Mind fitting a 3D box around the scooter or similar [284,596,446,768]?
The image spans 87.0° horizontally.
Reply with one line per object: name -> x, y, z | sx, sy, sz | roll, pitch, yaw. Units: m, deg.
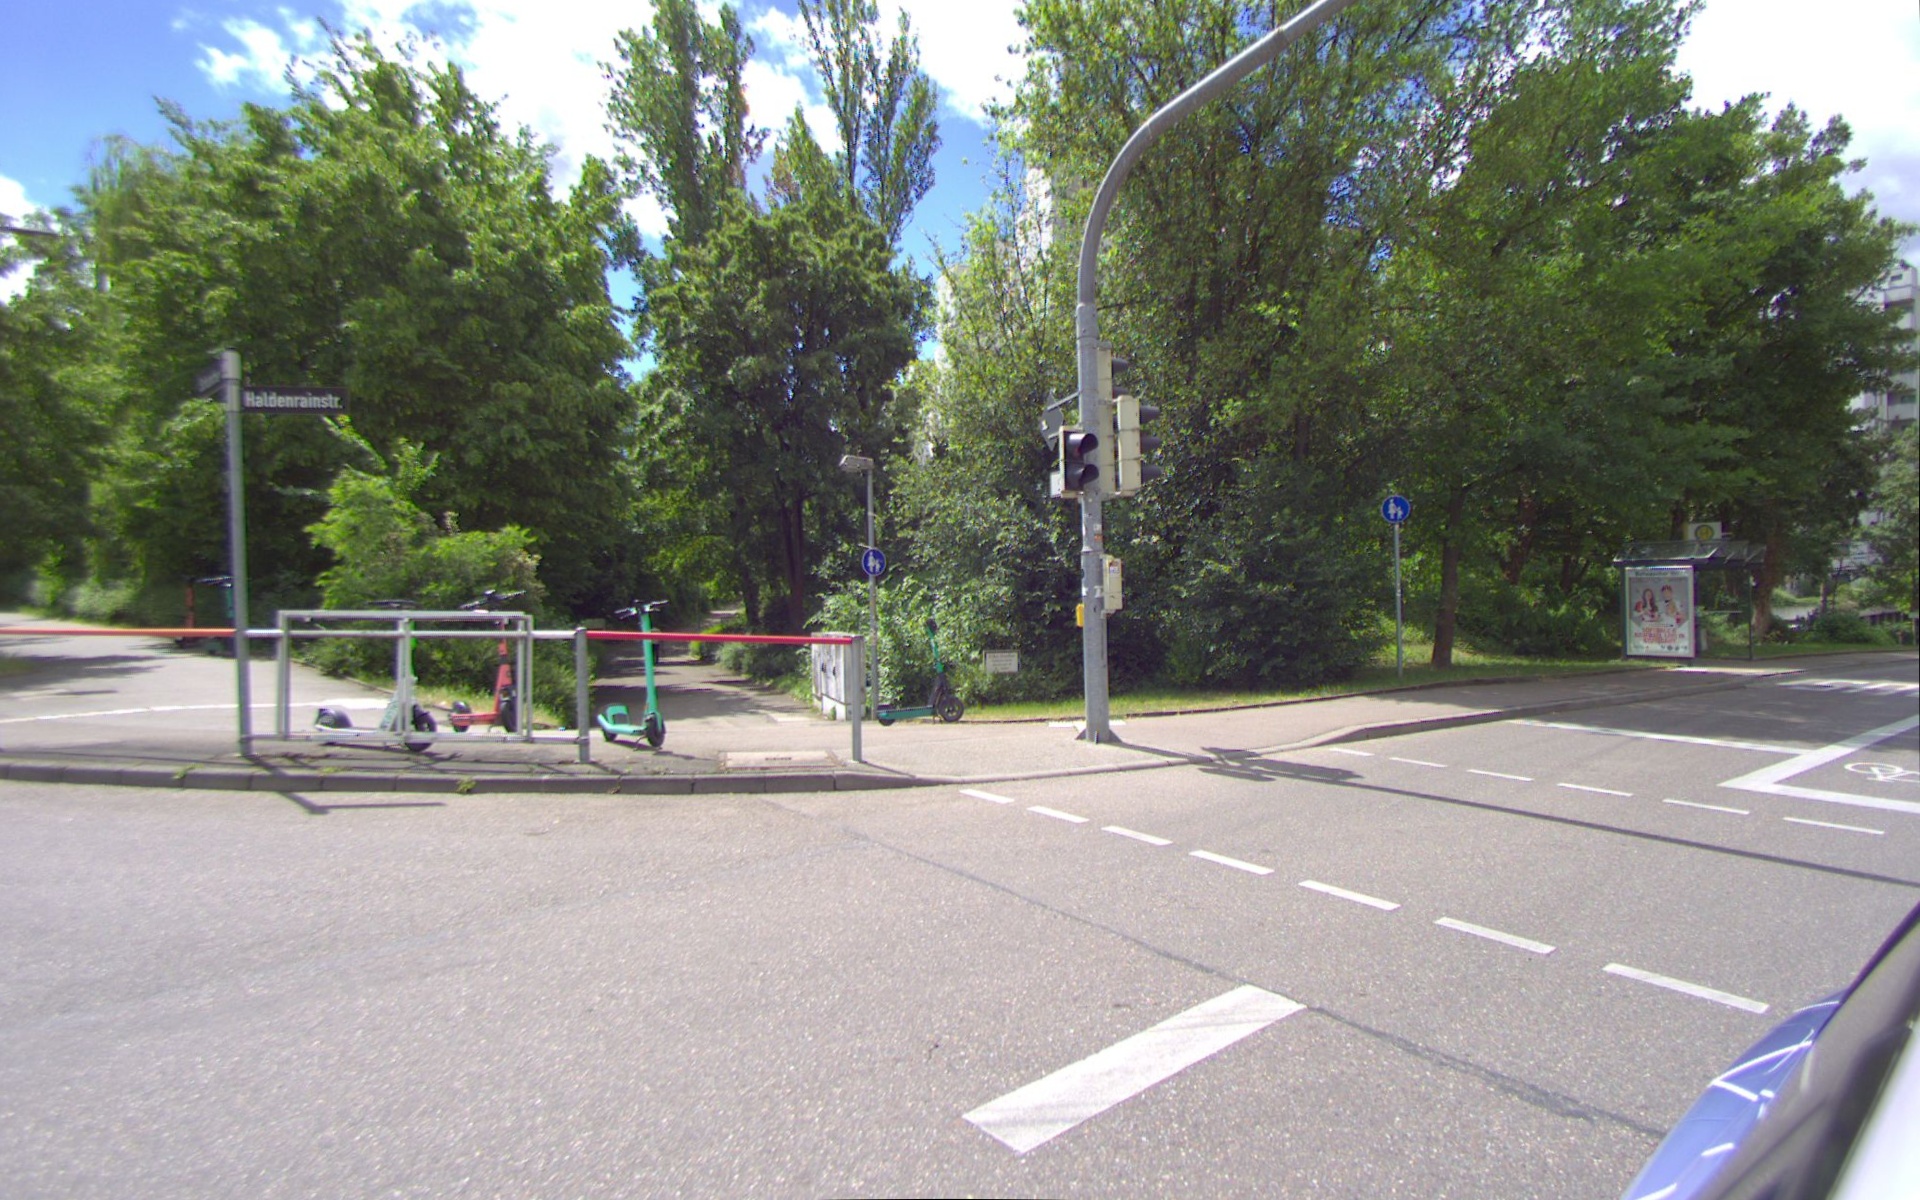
scooter or similar -> -4.637, 0.596, 7.886 | 1.197, 1.250, 0.475 | 0, 0, 24

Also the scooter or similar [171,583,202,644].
scooter or similar -> -14.180, 0.234, 18.567 | 0.403, 1.087, 1.115 | 0, 0, -35

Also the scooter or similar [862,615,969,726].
scooter or similar -> -0.543, 0.881, 12.479 | 1.194, 1.310, 0.532 | -3, -5, 17

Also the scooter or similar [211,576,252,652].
scooter or similar -> -11.885, 0.212, 16.522 | 0.513, 1.197, 1.176 | 0, 0, -35

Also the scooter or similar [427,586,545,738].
scooter or similar -> -4.181, 0.507, 8.896 | 1.179, 1.250, 0.473 | 1, 0, 39

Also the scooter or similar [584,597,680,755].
scooter or similar -> -2.745, 0.586, 8.415 | 0.440, 1.210, 1.171 | 0, 0, -35

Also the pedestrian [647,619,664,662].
pedestrian -> -12.524, 1.668, 41.600 | 0.647, 1.723, 0.839 | 0, 0, -18
